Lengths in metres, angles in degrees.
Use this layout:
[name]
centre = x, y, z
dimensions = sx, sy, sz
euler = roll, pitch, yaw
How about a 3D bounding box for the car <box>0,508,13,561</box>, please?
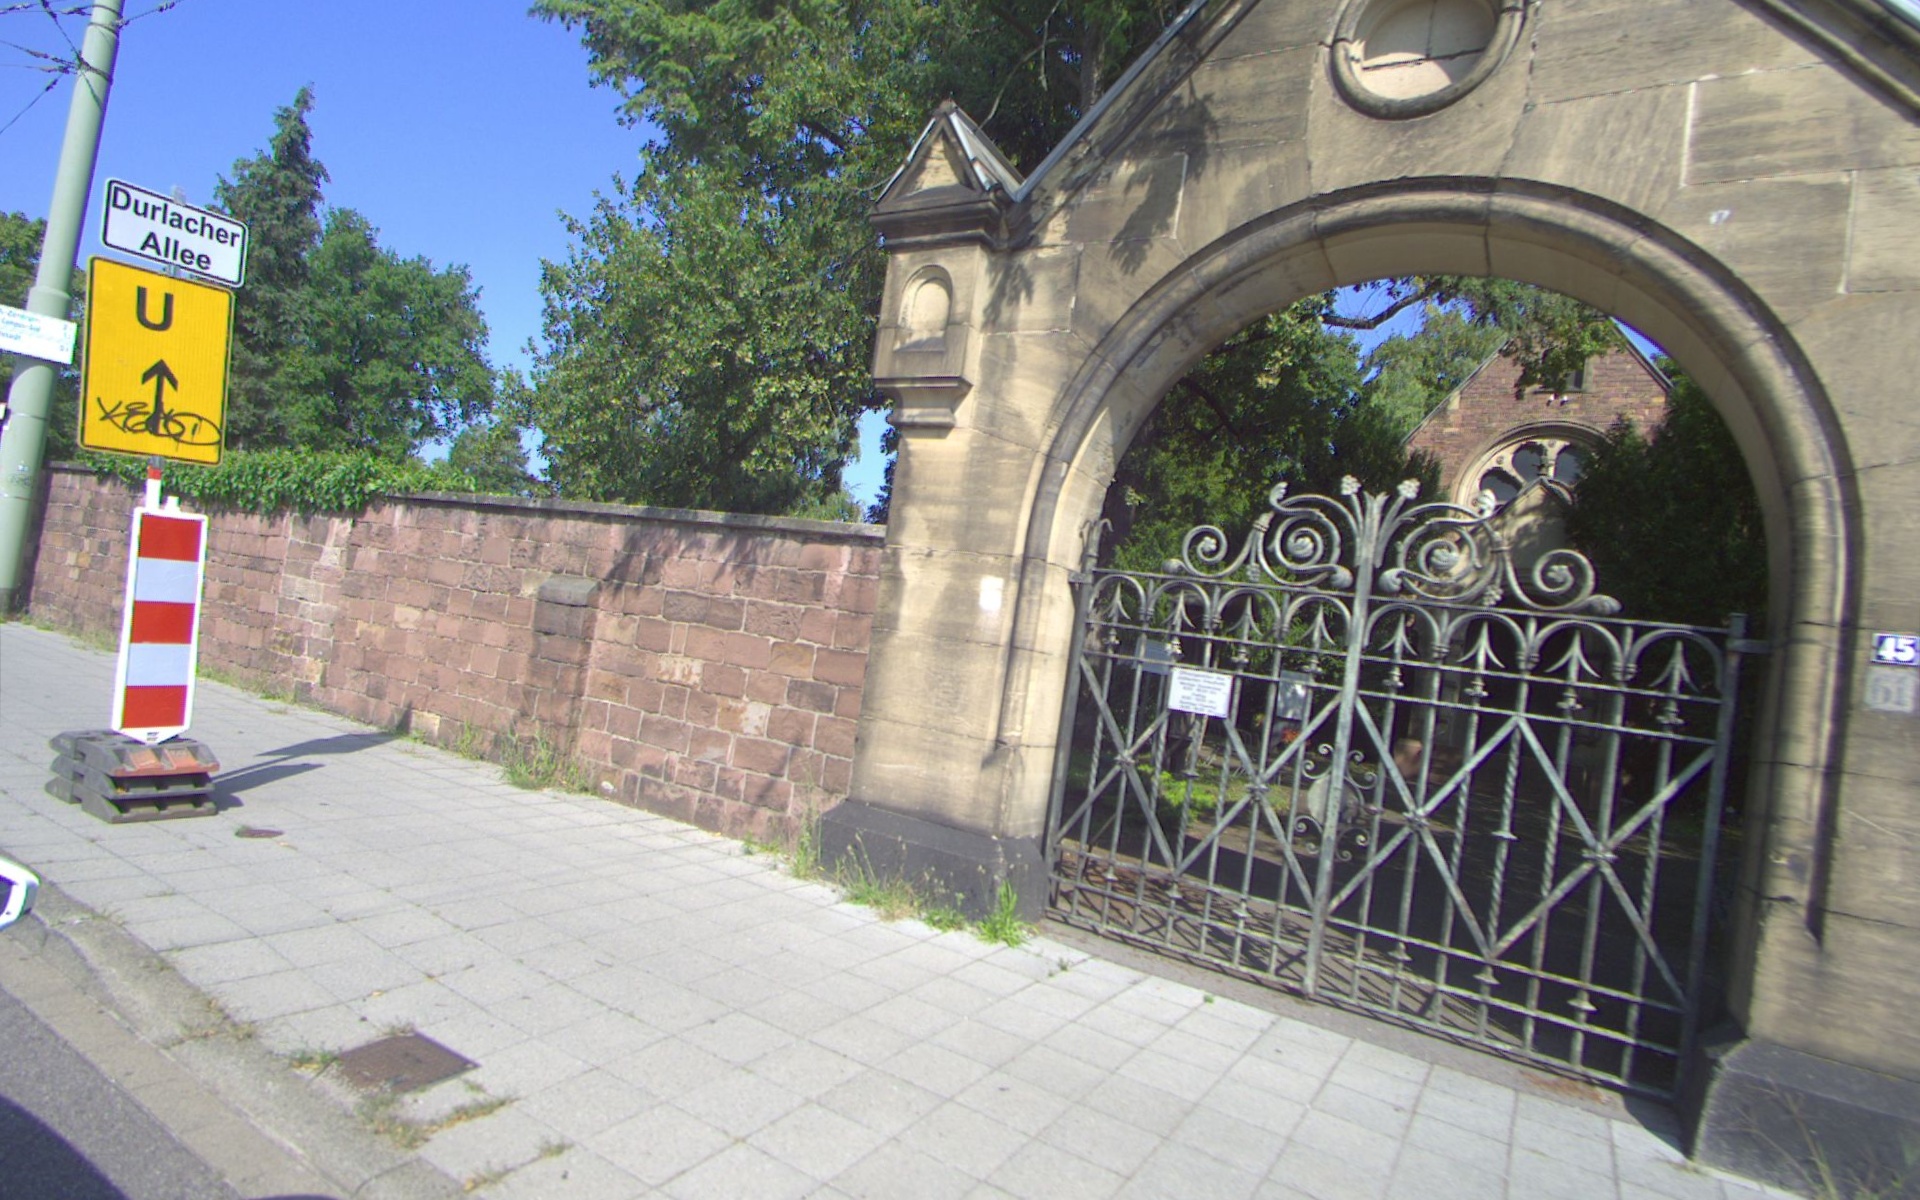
[car]
centre = -28.670, -2.191, 27.204
dimensions = 1.747, 1.479, 3.980
euler = 7, -4, 30
